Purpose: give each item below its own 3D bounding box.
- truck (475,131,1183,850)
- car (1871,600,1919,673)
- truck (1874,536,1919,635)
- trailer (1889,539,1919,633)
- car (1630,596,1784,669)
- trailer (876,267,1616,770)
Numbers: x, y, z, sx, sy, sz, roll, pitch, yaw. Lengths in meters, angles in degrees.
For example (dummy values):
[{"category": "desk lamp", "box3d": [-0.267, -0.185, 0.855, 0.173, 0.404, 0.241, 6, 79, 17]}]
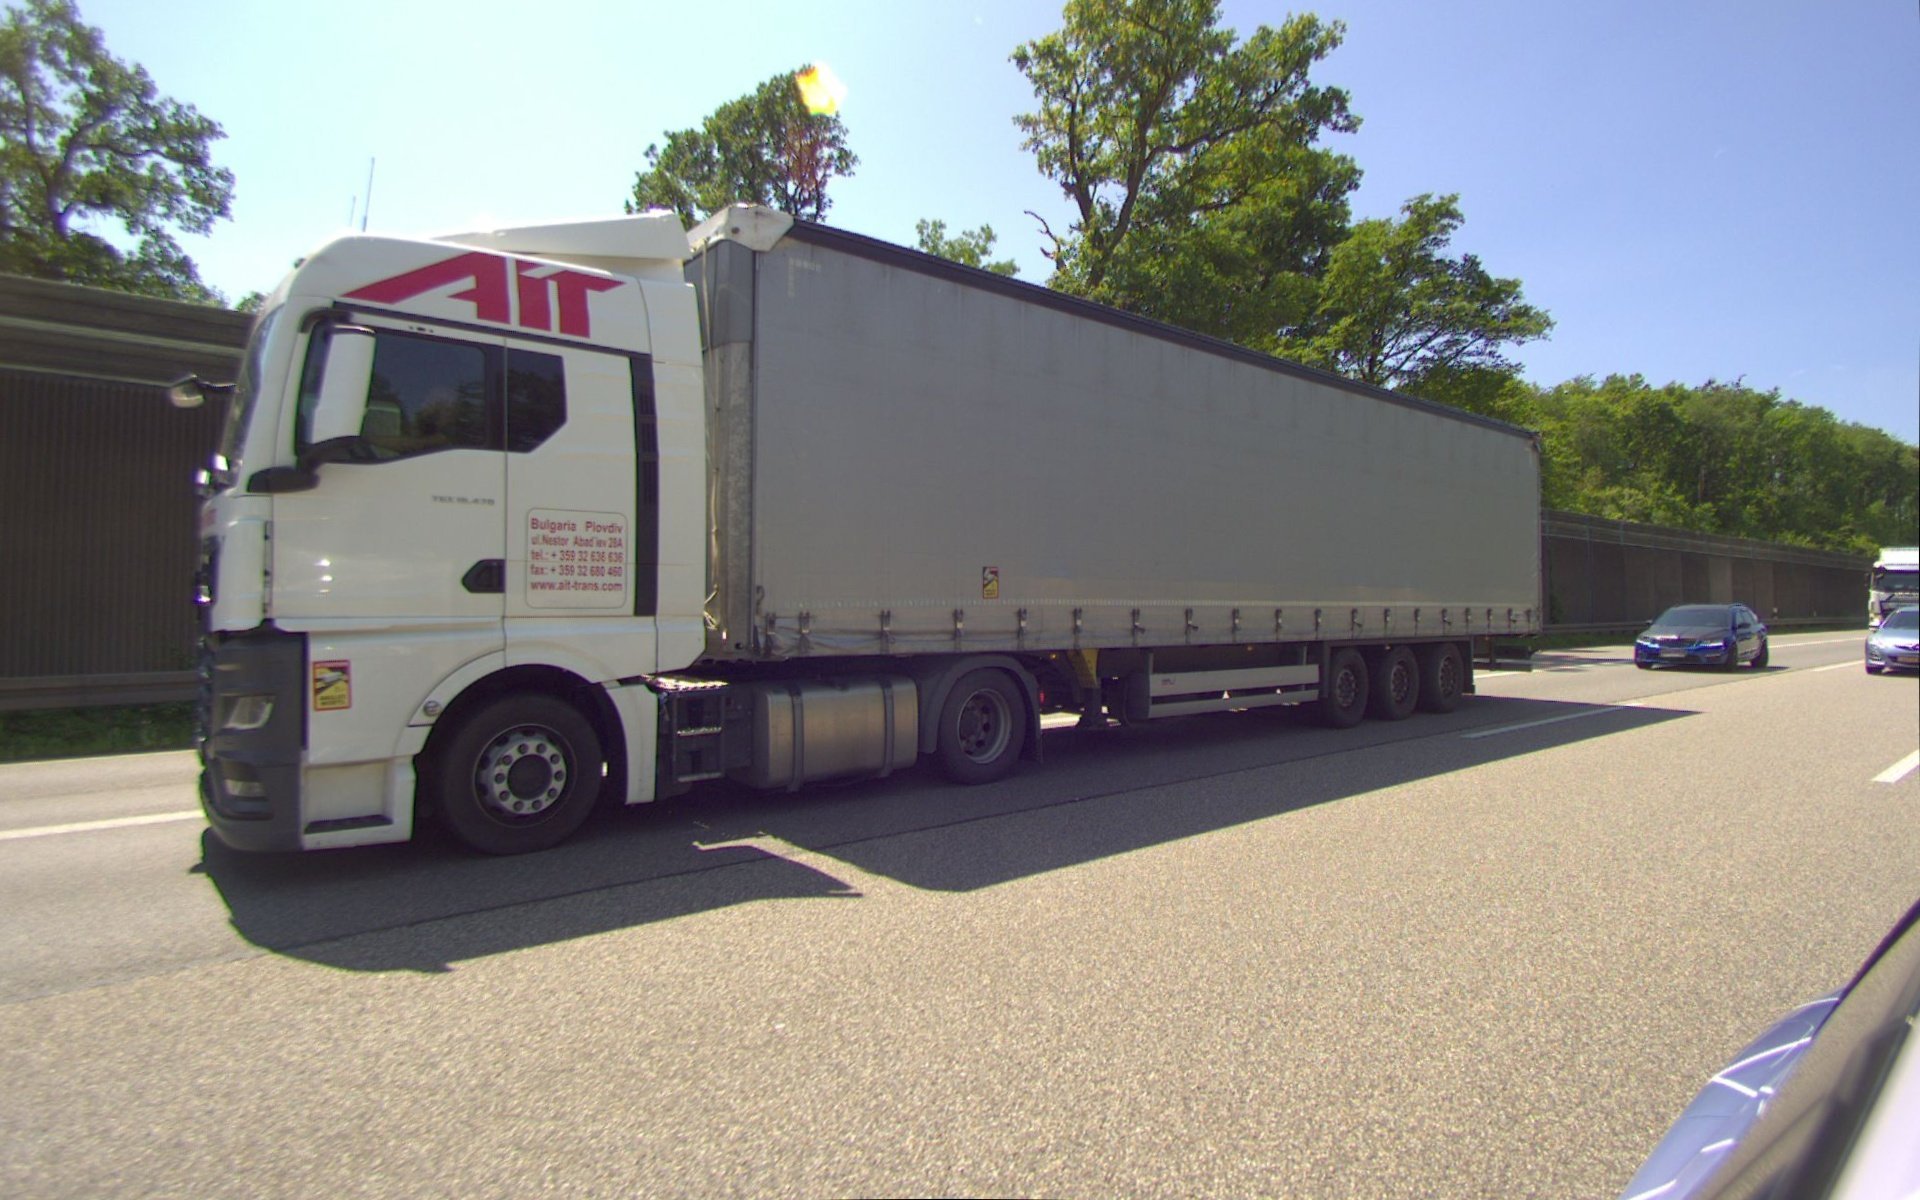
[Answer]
[{"category": "truck", "box3d": [-0.842, -0.660, 8.603, 5.455, 4.142, 2.603, 0, 0, -41]}, {"category": "car", "box3d": [20.946, 0.736, 21.425, 4.102, 1.452, 1.859, 0, -1, -40]}, {"category": "truck", "box3d": [43.571, -0.636, 45.421, 5.321, 4.269, 2.812, 0, -1, -38]}, {"category": "trailer", "box3d": [48.946, -0.624, 49.569, 13.216, 4.269, 2.821, 0, -1, -38]}, {"category": "car", "box3d": [16.949, 0.677, 22.897, 4.102, 1.512, 1.859, 0, -1, -40]}, {"category": "trailer", "box3d": [5.066, -0.736, 13.658, 13.351, 4.142, 2.603, -1, 0, -40]}]
